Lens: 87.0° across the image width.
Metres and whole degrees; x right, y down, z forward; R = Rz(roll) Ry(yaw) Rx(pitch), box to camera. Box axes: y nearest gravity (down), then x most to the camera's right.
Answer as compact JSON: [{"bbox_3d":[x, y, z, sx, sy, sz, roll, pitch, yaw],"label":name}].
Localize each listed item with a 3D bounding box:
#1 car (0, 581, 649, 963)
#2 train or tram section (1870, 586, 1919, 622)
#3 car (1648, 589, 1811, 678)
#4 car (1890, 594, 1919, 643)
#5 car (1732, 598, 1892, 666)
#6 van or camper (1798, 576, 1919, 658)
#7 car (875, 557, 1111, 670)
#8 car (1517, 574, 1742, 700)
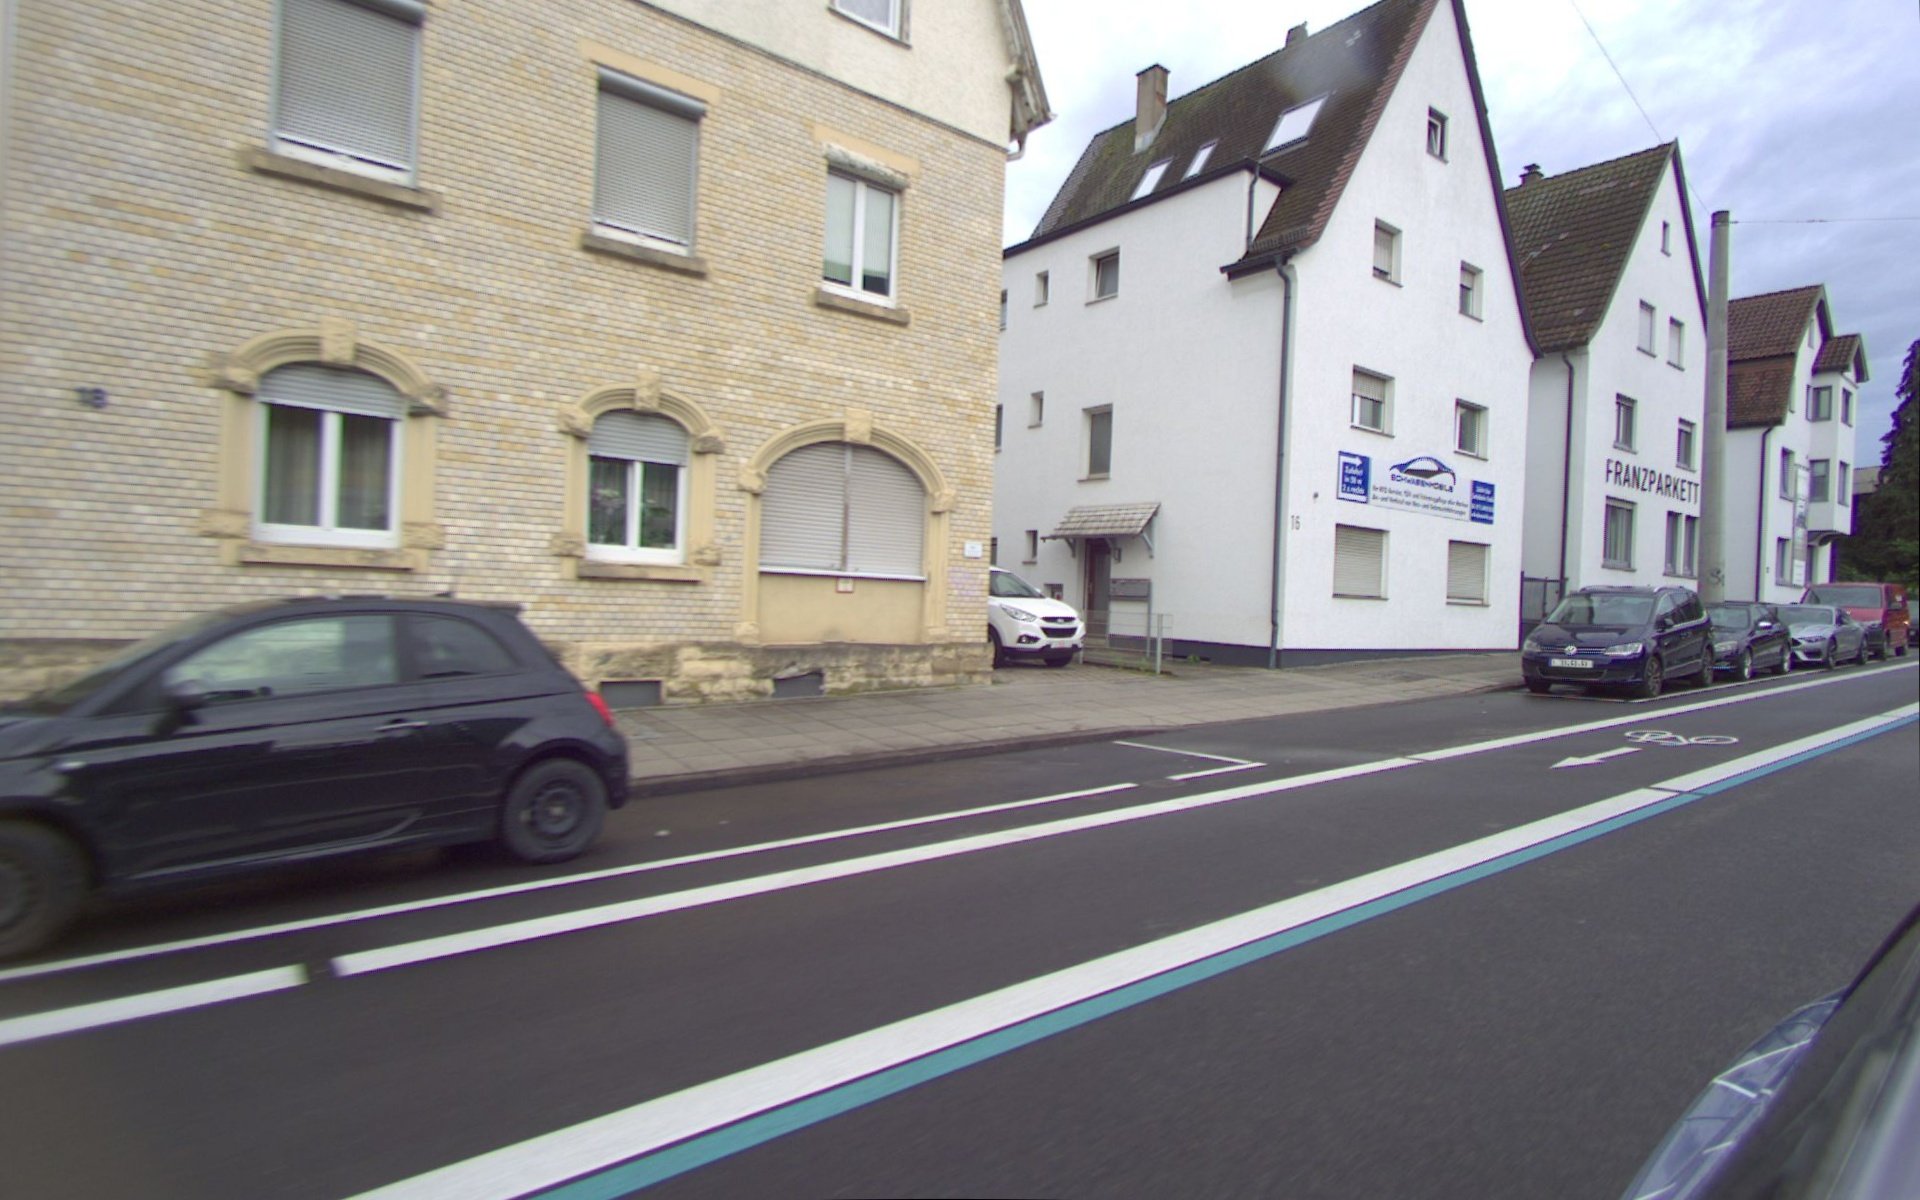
[{"bbox_3d":[-3.600,0.692,5.298,3.453,1.517,1.567,0,-1,-43],"label":"car"},{"bbox_3d":[110.774,0.435,114.938,2.837,4.021,19.231,0,0,16],"label":"train or tram section"},{"bbox_3d":[15.075,0.598,19.758,4.061,1.558,1.637,0,-1,-39],"label":"car"},{"bbox_3d":[32.139,0.593,33.315,3.651,1.469,1.583,-1,2,-37],"label":"car"},{"bbox_3d":[19.551,0.668,23.172,4.583,1.393,1.802,0,1,-37],"label":"car"},{"bbox_3d":[23.816,0.380,26.522,4.904,1.944,1.856,0,2,-39],"label":"van or camper"},{"bbox_3d":[0.459,0.151,17.474,1.837,1.674,3.996,1,2,-40],"label":"car"},{"bbox_3d":[11.246,0.548,16.867,4.602,1.823,1.843,0,-1,-39],"label":"car"}]
